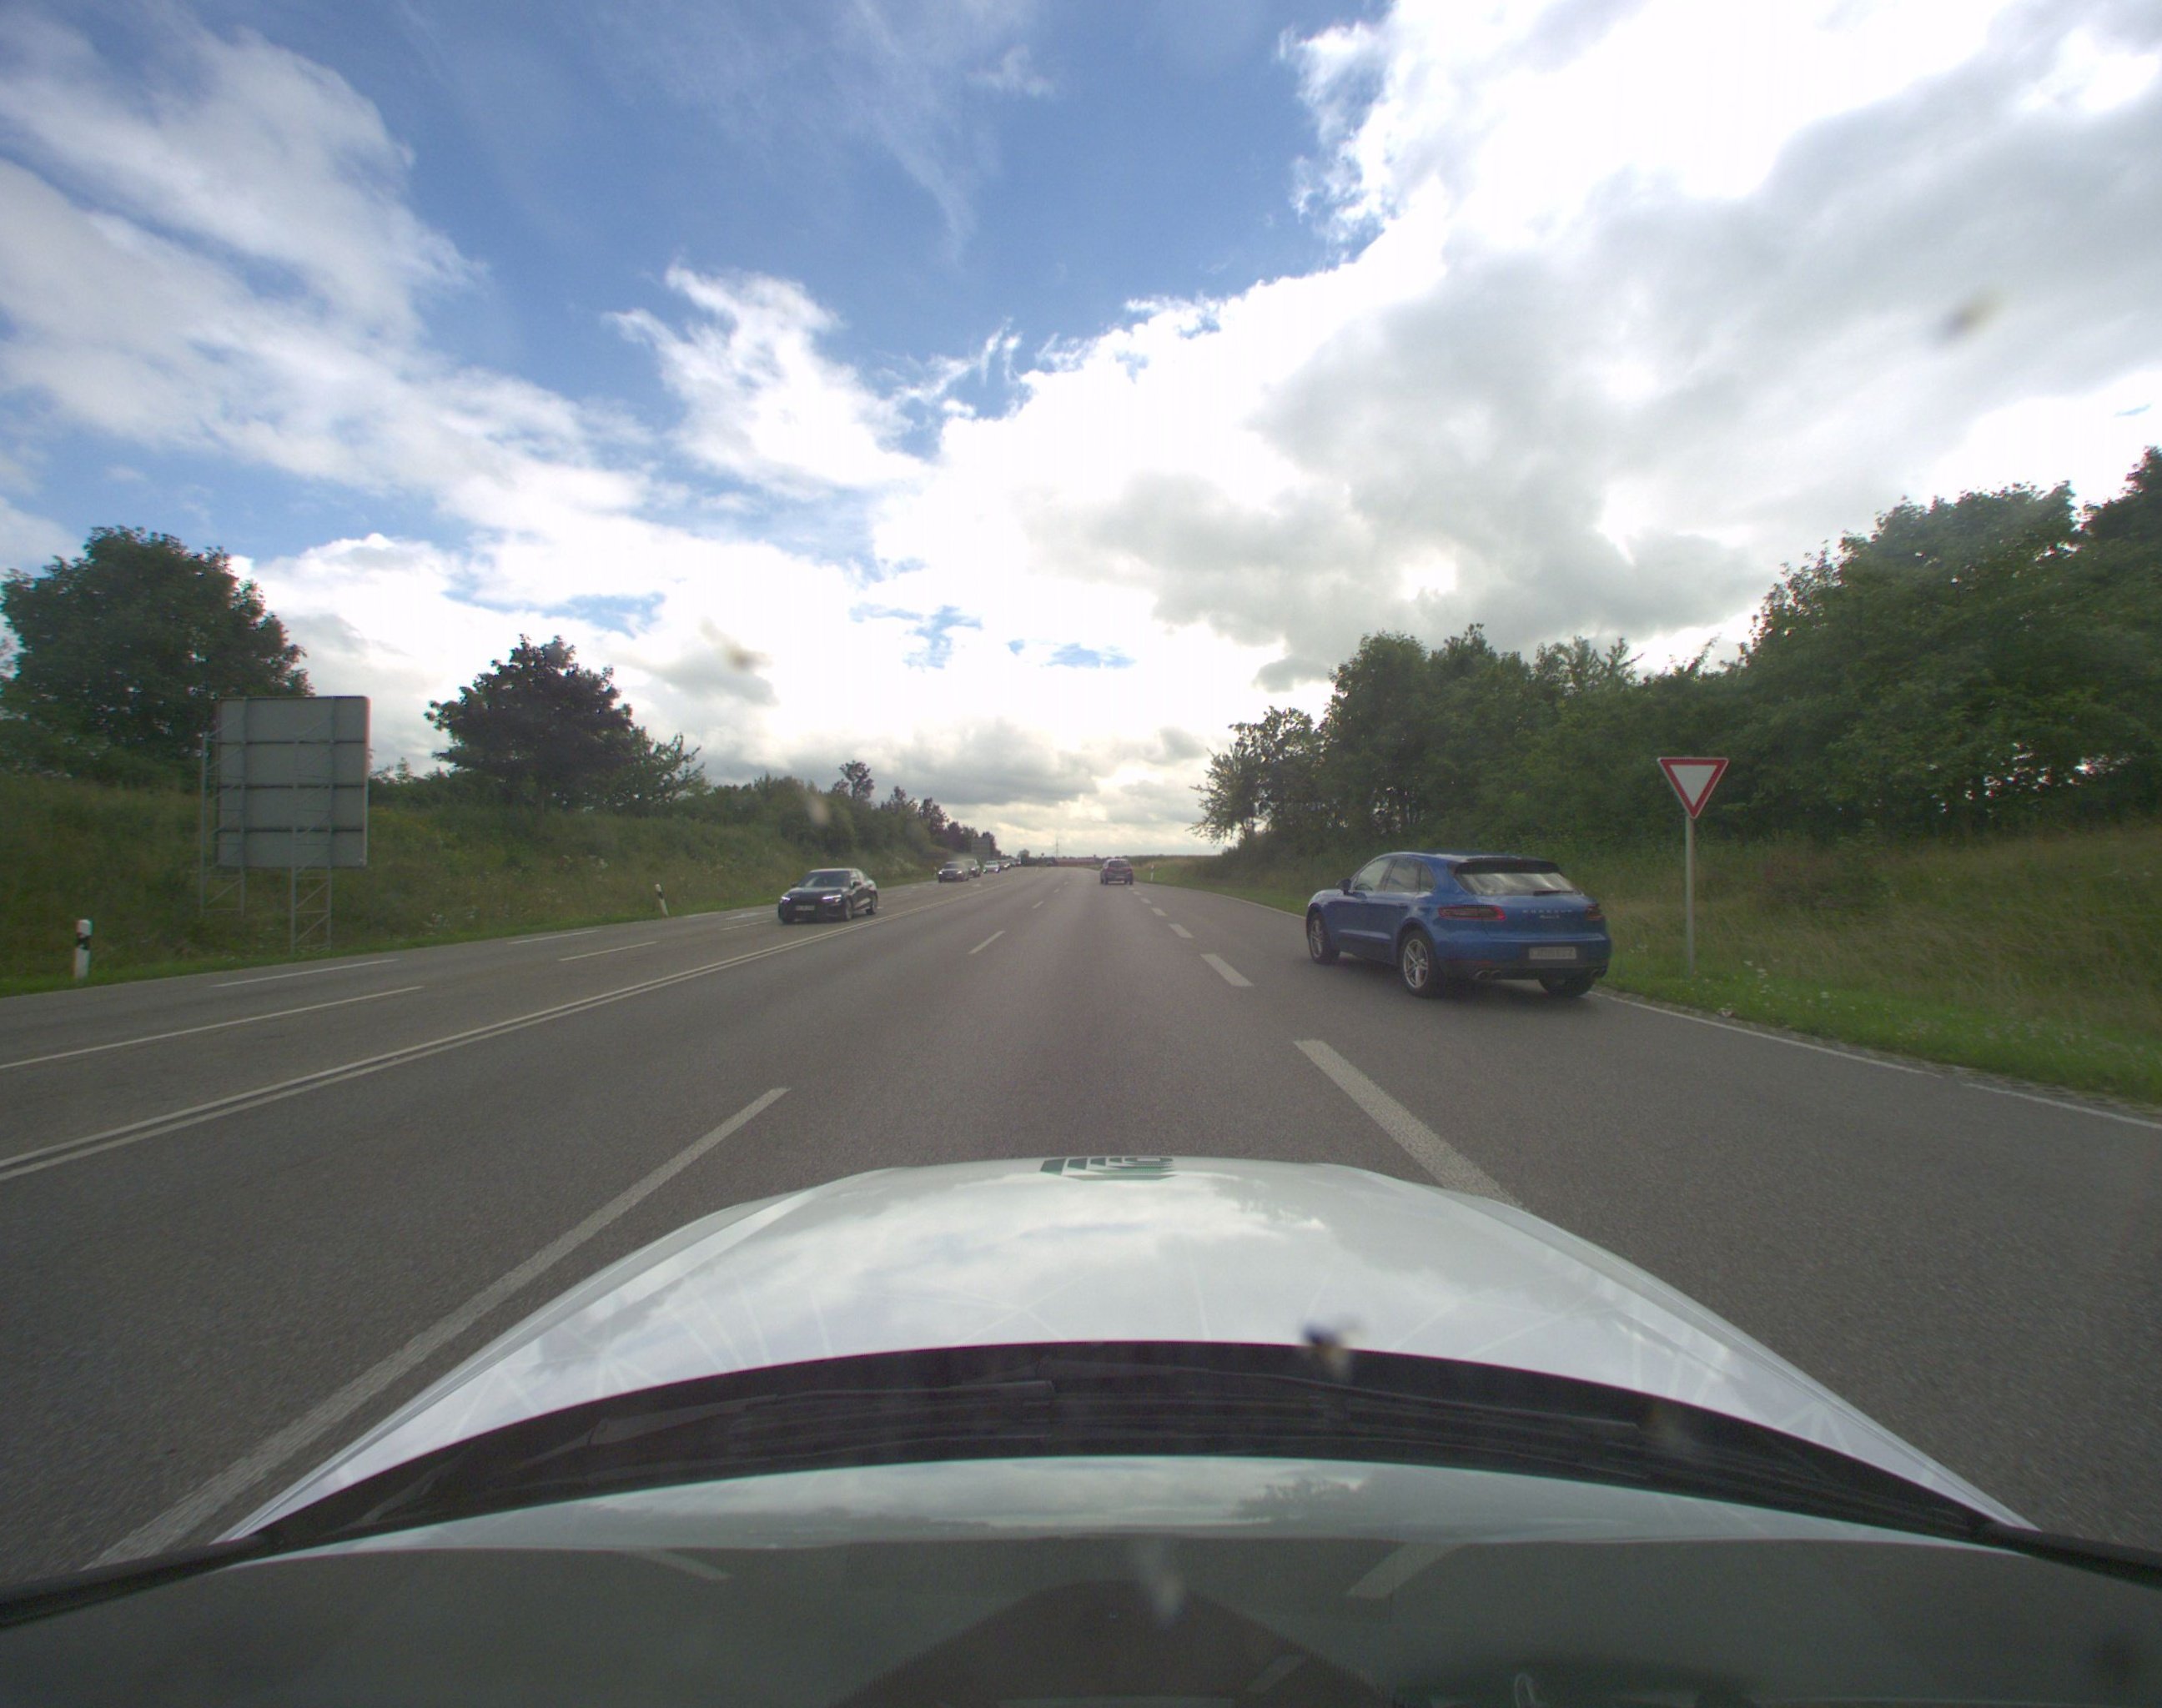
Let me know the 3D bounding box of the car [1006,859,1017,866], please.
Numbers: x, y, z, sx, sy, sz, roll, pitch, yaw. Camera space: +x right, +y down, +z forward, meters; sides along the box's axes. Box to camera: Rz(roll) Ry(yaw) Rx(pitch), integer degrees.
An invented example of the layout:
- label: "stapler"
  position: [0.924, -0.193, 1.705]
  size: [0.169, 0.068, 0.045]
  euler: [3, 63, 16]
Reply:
- label: "car"
  position: [-13.938, 1.683, 163.848]
  size: [1.988, 1.508, 3.998]
  euler: [-1, 0, -1]

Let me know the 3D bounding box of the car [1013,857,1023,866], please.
- label: "car"
  position: [-16.365, 1.998, 212.566]
  size: [2.358, 2.211, 5.917]
  euler: [-1, 0, -2]

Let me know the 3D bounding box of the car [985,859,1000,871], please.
- label: "car"
  position: [-10.873, 1.326, 100.210]
  size: [1.664, 1.442, 4.141]
  euler: [-1, 0, -3]

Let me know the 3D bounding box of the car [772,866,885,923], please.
- label: "car"
  position: [-7.016, 1.076, 23.151]
  size: [1.759, 1.383, 4.543]
  euler: [-1, 0, 0]

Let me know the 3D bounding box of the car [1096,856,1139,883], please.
- label: "car"
  position: [2.143, 0.922, 48.853]
  size: [1.991, 1.535, 3.992]
  euler: [0, 0, -6]

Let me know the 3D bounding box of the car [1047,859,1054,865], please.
- label: "car"
  position: [-8.883, 2.418, 235.642]
  size: [1.987, 1.715, 3.999]
  euler: [-1, 0, 0]

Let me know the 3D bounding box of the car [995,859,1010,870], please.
- label: "car"
  position: [-11.623, 1.536, 120.781]
  size: [1.989, 1.508, 3.994]
  euler: [-1, 0, -4]

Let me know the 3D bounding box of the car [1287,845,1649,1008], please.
- label: "car"
  position: [4.411, 0.733, 10.334]
  size: [1.991, 1.570, 4.746]
  euler: [1, 0, -6]

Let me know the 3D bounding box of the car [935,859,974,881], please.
- label: "car"
  position: [-9.368, 1.172, 60.860]
  size: [1.986, 1.494, 4.994]
  euler: [-1, 0, 1]

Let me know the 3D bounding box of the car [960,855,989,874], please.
- label: "car"
  position: [-9.894, 0.950, 75.905]
  size: [1.987, 1.610, 4.992]
  euler: [-1, 0, 0]
